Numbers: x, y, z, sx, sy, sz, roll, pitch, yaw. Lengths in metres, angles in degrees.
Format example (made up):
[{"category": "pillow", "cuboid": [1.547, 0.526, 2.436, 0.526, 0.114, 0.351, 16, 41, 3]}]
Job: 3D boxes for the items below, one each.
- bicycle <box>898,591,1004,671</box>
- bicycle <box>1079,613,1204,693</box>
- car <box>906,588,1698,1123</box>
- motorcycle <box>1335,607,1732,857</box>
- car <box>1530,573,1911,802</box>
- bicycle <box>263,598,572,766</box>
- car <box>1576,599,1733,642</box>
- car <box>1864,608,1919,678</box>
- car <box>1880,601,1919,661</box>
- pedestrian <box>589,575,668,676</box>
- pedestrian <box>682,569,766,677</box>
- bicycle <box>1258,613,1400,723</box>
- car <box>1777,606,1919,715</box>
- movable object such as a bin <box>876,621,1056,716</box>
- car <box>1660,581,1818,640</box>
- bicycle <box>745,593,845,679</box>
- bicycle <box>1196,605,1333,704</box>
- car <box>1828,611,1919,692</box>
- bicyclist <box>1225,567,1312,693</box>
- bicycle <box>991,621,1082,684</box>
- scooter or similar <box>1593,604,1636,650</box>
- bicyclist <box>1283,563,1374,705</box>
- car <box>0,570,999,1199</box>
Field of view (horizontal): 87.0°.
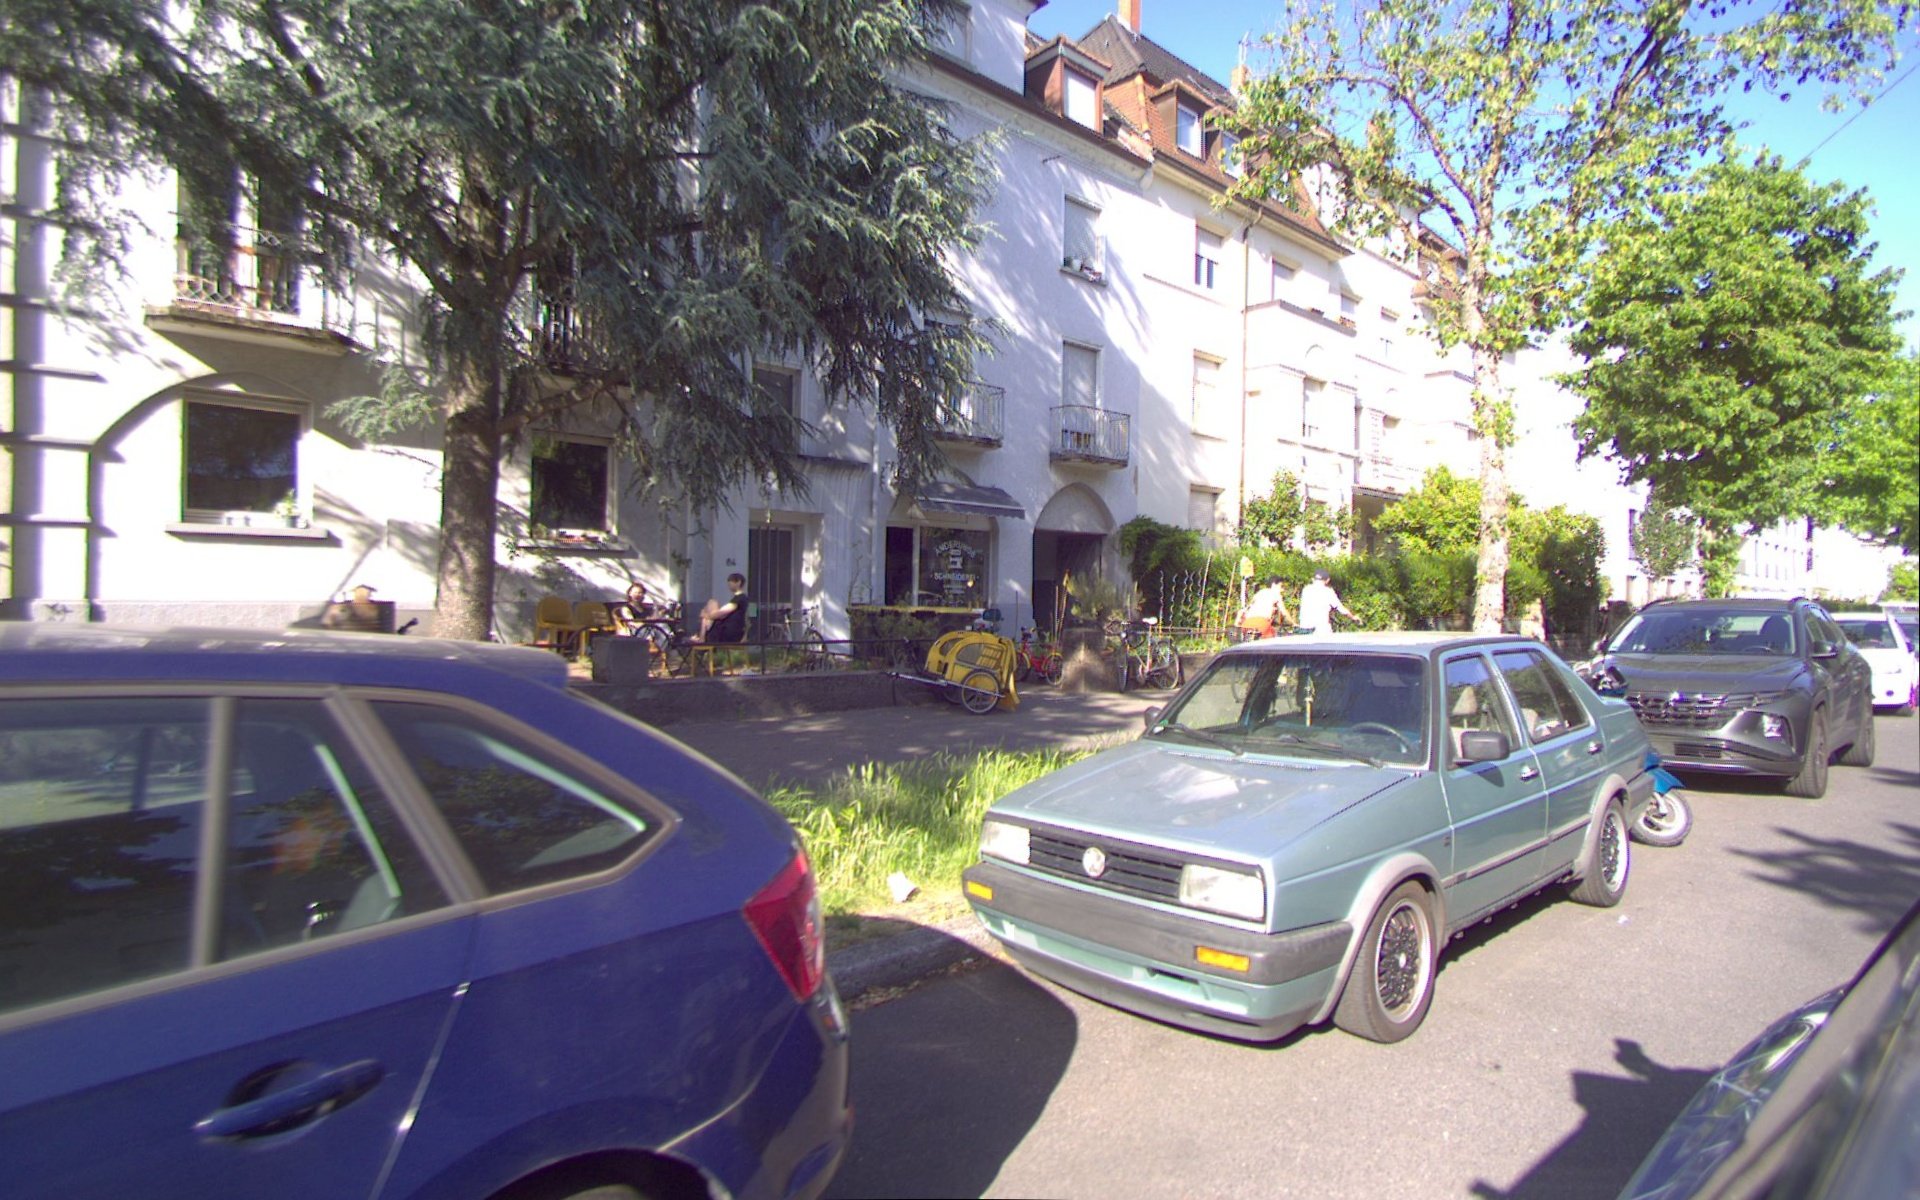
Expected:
[{"category": "bicycle", "cuboid": [-0.176, 0.443, 15.651, 0.572, 1.114, 1.902, 1, 1, -38]}, {"category": "bicycle", "cuboid": [2.466, 0.676, 13.614, 1.870, 0.987, 0.582, 1, 1, -41]}, {"category": "car", "cuboid": [1.983, 0.738, 4.941, 4.385, 1.473, 1.753, 1, -2, -42]}, {"category": "motorcycle", "cuboid": [3.959, 0.805, 7.215, 0.676, 1.440, 2.355, 1, 1, -42]}, {"category": "car", "cuboid": [7.540, 0.674, 9.809, 5.005, 1.673, 1.929, 1, -1, -41]}, {"category": "bicycle", "cuboid": [-4.148, 0.557, 7.854, 0.804, 1.129, 1.968, 1, 0, 45]}, {"category": "car", "cuboid": [27.214, 0.767, 39.818, 1.913, 1.488, 4.741, 0, 1, -27]}, {"category": "car", "cuboid": [22.265, 0.928, 23.265, 4.827, 1.488, 1.823, 1, -1, -44]}, {"category": "car", "cuboid": [27.638, 0.838, 28.742, 4.884, 1.543, 1.897, -1, 1, -44]}, {"category": "pedestrian", "cuboid": [-3.964, 0.288, 12.102, 0.743, 1.157, 0.510, 1, 0, -44]}, {"category": "pedestrian", "cuboid": [-2.612, 0.241, 11.212, 0.742, 1.157, 0.510, 1, 0, -40]}, {"category": "bicycle", "cuboid": [4.502, 0.764, 12.234, 0.684, 1.168, 2.364, 2, 1, 44]}, {"category": "car", "cuboid": [14.464, 0.879, 16.190, 3.903, 1.552, 1.655, 1, -2, -44]}, {"category": "movable object such as a bin", "cuboid": [0.043, 0.721, 11.151, 1.629, 0.916, 1.228, 1, 1, -21]}, {"category": "car", "cuboid": [33.738, 0.410, 44.036, 5.004, 2.335, 2.215, 2, 1, 25]}, {"category": "bicycle", "cuboid": [-2.434, 0.490, 14.753, 0.572, 1.114, 1.902, 1, 1, -38]}, {"category": "bicycle", "cuboid": [4.032, 0.661, 13.258, 0.684, 1.168, 2.364, 2, 1, 44]}, {"category": "car", "cuboid": [18.600, 0.947, 20.007, 4.780, 1.428, 1.712, 1, -1, -44]}, {"category": "bicyclist", "cuboid": [4.053, 0.364, 13.278, 0.676, 1.573, 1.005, 2, 1, 44]}, {"category": "bicycle", "cuboid": [1.054, 0.712, 14.185, 0.463, 0.766, 1.366, 1, 1, -38]}, {"category": "scooter or similar", "cuboid": [17.495, 0.729, 27.053, 1.181, 1.200, 0.403, 2, 0, -27]}, {"category": "bicyclist", "cuboid": [4.427, 0.383, 12.147, 0.677, 1.629, 0.907, 2, 1, 45]}, {"category": "car", "cuboid": [-2.103, 0.735, 1.191, 4.364, 1.560, 1.695, 1, -1, -42]}]
